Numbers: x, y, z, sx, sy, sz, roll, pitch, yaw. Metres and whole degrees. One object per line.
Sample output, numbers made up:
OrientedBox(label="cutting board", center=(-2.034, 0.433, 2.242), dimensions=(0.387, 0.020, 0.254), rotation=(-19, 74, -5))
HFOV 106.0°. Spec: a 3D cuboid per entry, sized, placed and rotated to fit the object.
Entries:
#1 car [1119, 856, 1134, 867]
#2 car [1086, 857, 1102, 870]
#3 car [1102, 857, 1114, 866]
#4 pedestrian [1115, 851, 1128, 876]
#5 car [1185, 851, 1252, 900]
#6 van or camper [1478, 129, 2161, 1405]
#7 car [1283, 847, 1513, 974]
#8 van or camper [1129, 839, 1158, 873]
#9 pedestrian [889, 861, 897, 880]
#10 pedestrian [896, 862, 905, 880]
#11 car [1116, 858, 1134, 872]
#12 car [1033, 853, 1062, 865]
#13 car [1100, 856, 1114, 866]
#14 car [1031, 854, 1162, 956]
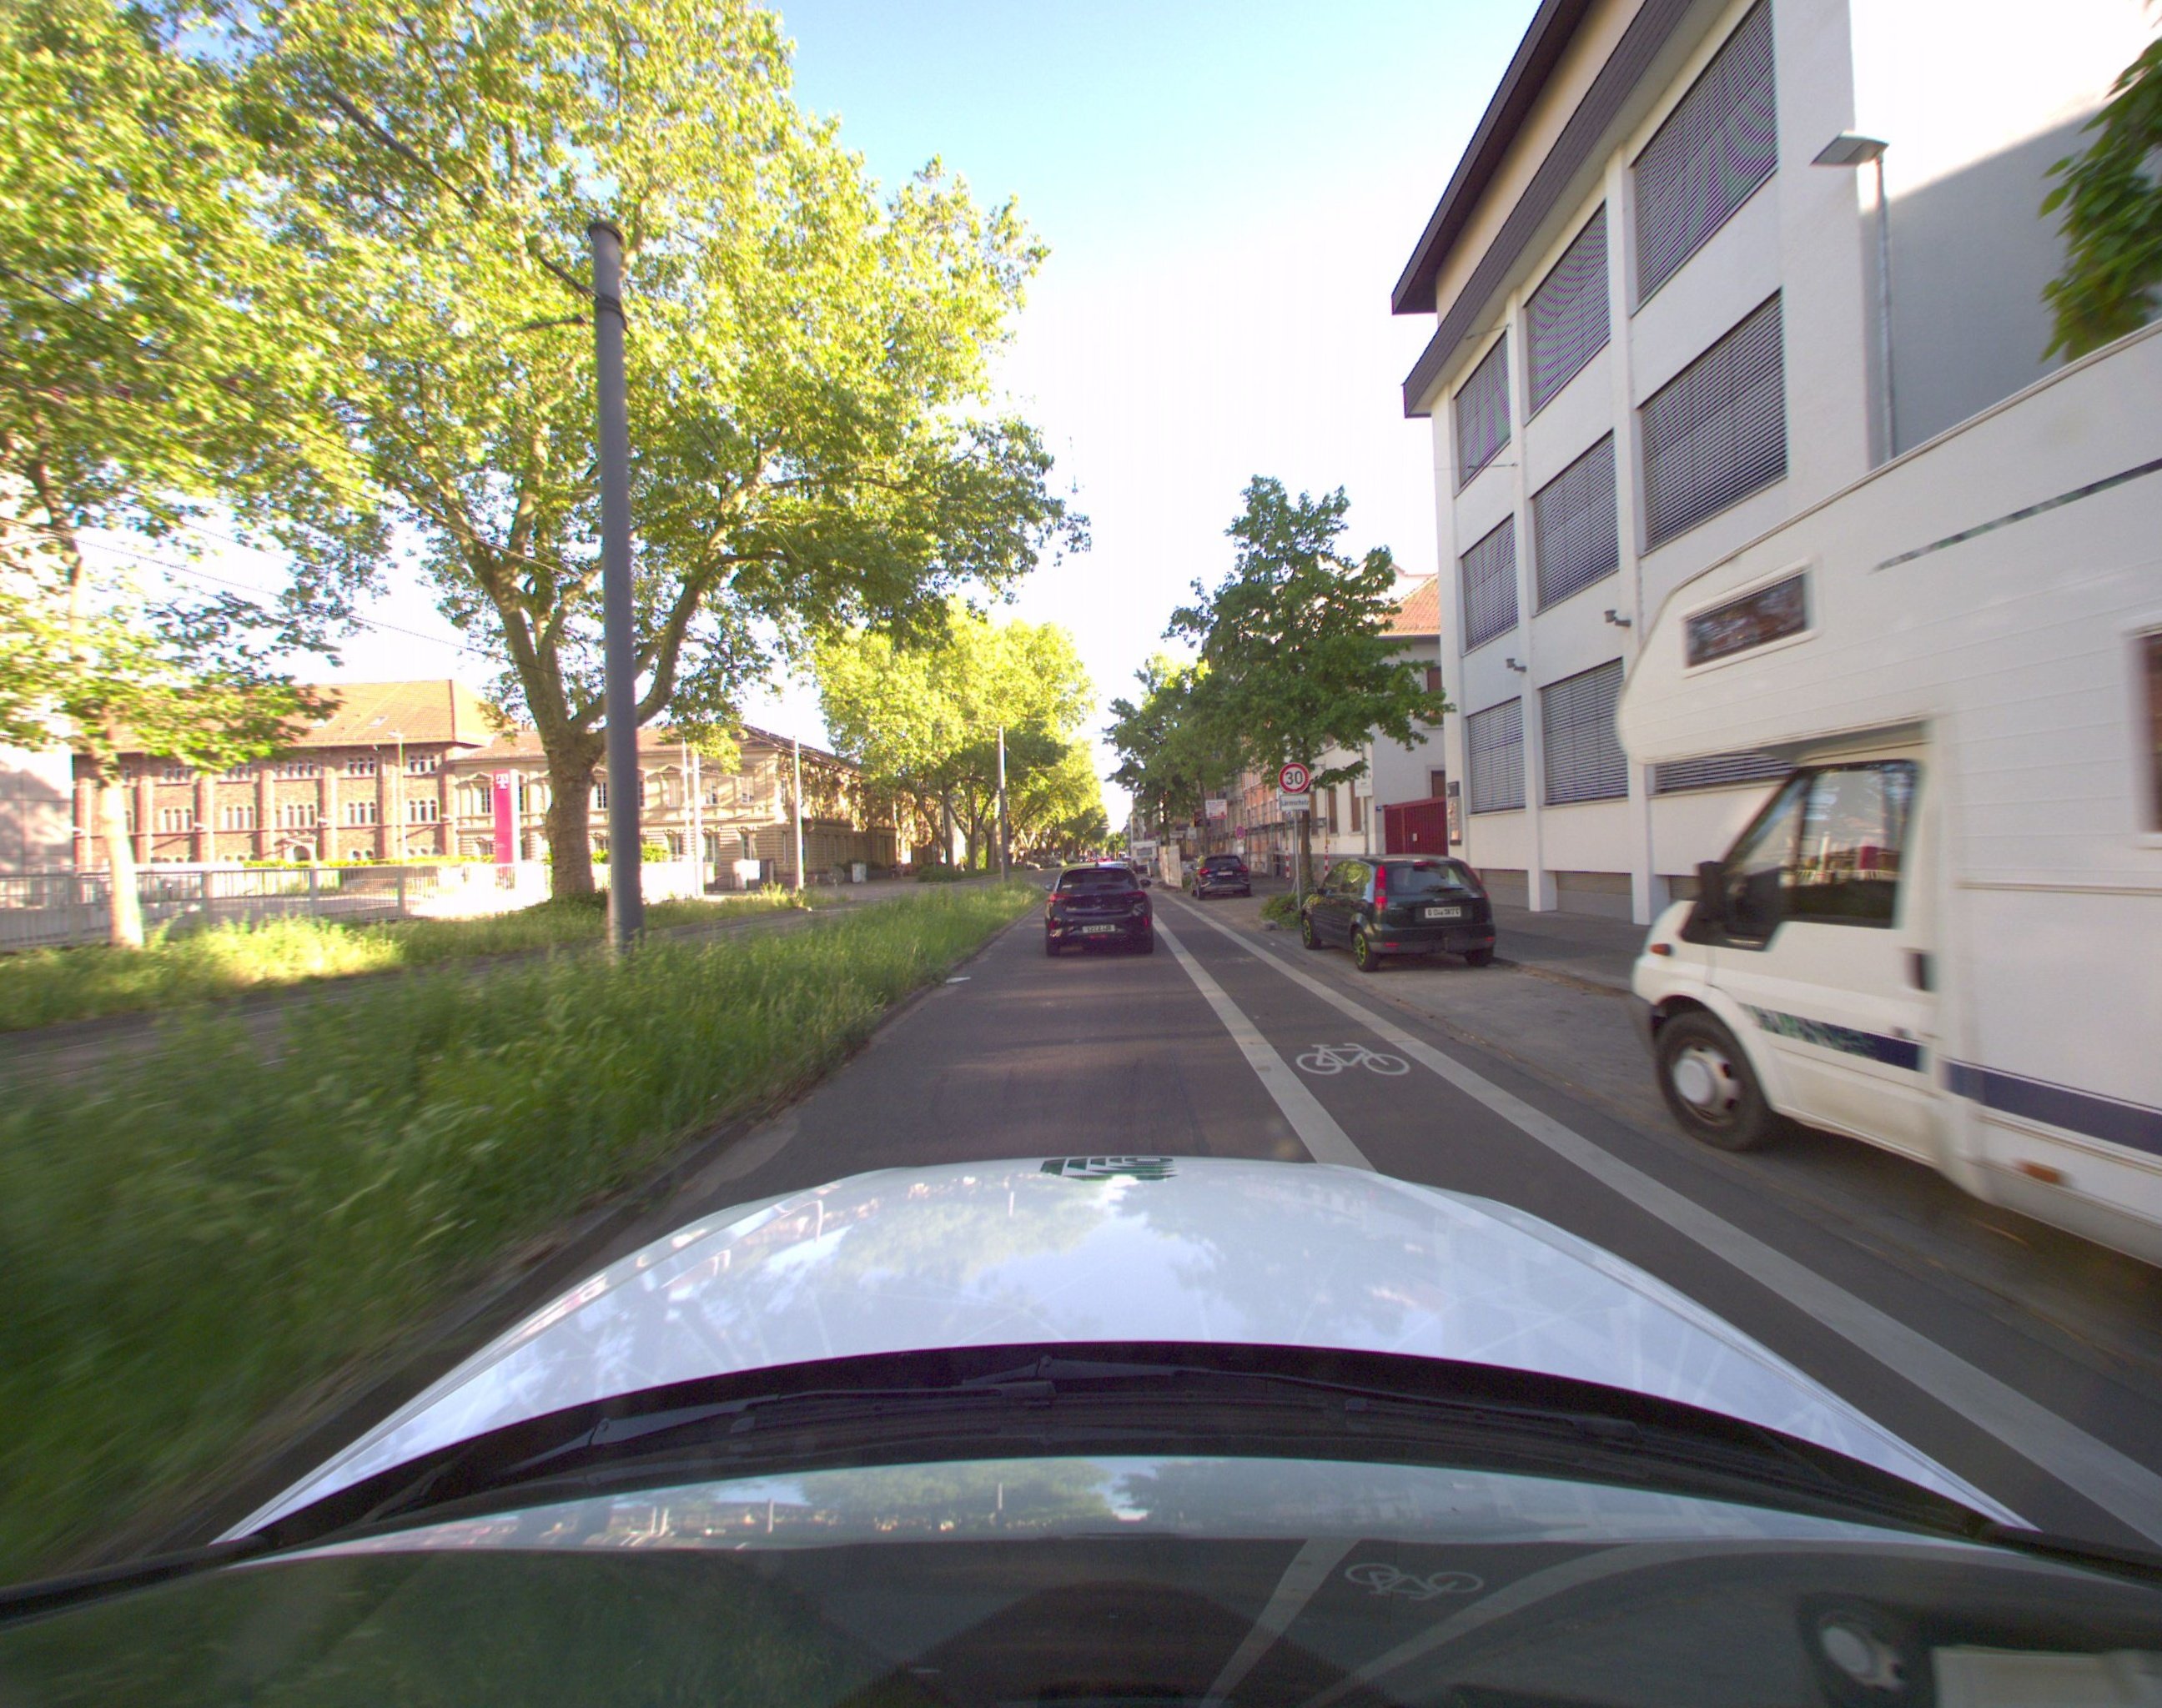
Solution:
OrientedBox(label="car", center=(6.034, 0.989, 108.699), dimensions=(1.897, 1.425, 4.219), rotation=(-2, 0, 3))
OrientedBox(label="car", center=(1.712, 1.240, 103.282), dimensions=(1.783, 1.510, 3.877), rotation=(-4, 0, 3))
OrientedBox(label="car", center=(4.690, 1.215, 140.380), dimensions=(1.897, 1.425, 4.219), rotation=(-2, 0, 3))
OrientedBox(label="pedestrian", center=(3.379, 0.778, 68.635), dimensions=(1.032, 2.024, 1.213), rotation=(-2, 0, 1))
OrientedBox(label="car", center=(4.753, 0.698, 28.646), dimensions=(1.783, 1.510, 3.877), rotation=(-4, 0, 3))
OrientedBox(label="van or camper", center=(3.824, -0.237, 1.578), dimensions=(2.367, 3.125, 7.553), rotation=(-5, 0, 2))
OrientedBox(label="car", center=(4.239, 0.669, 11.626), dimensions=(1.680, 1.420, 4.048), rotation=(-3, 0, 0))
OrientedBox(label="van or camper", center=(5.716, 0.205, 75.012), dimensions=(2.476, 2.993, 5.439), rotation=(0, 0, 3))
OrientedBox(label="pedestrian", center=(-17.361, 1.559, 75.233), dimensions=(0.616, 1.733, 0.596), rotation=(0, 0, 1))
OrientedBox(label="pedestrian", center=(-16.701, 1.537, 75.300), dimensions=(0.656, 1.622, 0.616), rotation=(0, 0, 1))
OrientedBox(label="car", center=(4.868, 1.152, 89.667), dimensions=(1.897, 1.425, 4.219), rotation=(-2, 0, 3))
OrientedBox(label="car", center=(-7.032, 1.027, 171.343), dimensions=(5.665, 2.198, 2.290), rotation=(-2, 0, 2))
OrientedBox(label="car", center=(3.747, 1.016, 117.720), dimensions=(1.897, 1.425, 4.219), rotation=(-2, 0, 3))
OrientedBox(label="car", center=(0.358, 0.766, 14.230), dimensions=(1.897, 1.425, 4.219), rotation=(-2, 0, 3))
